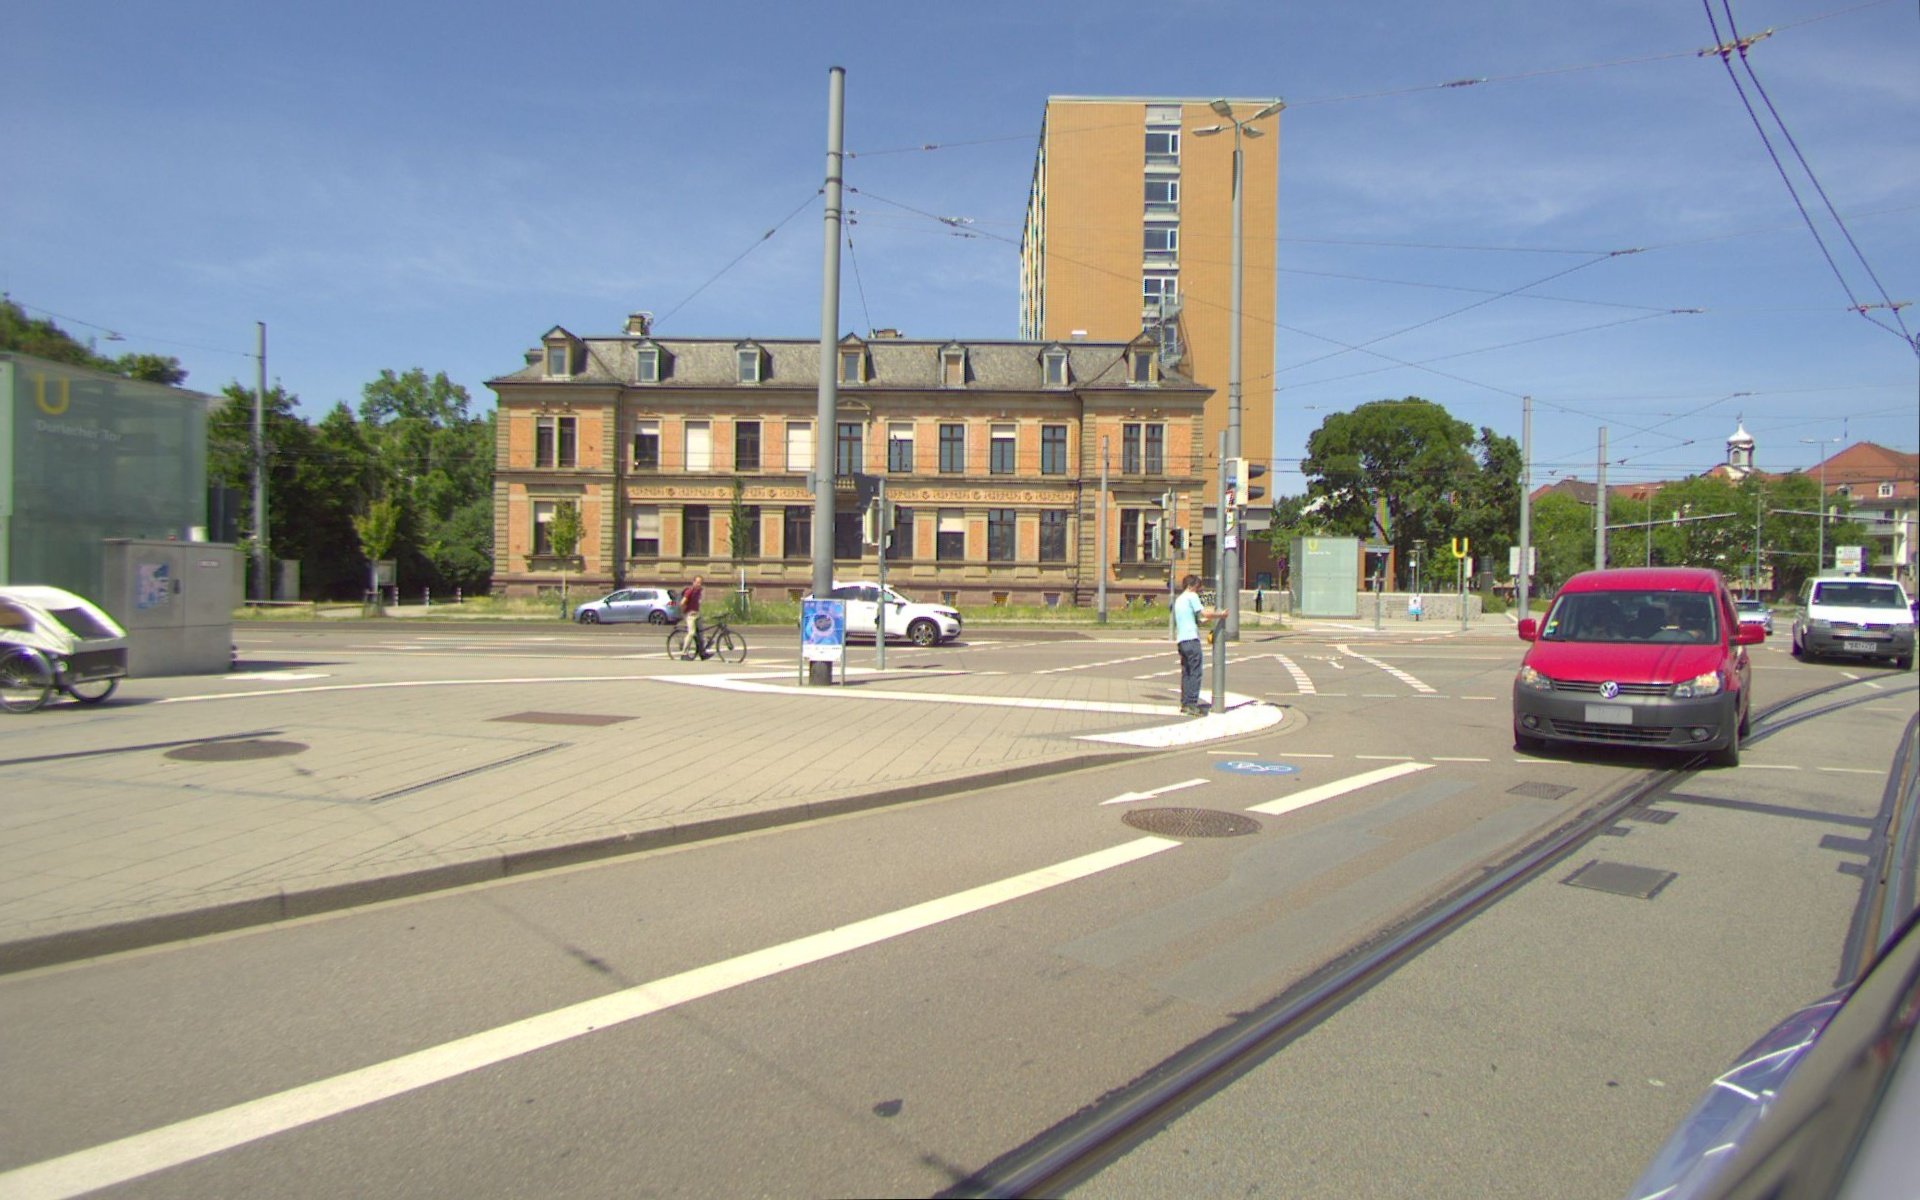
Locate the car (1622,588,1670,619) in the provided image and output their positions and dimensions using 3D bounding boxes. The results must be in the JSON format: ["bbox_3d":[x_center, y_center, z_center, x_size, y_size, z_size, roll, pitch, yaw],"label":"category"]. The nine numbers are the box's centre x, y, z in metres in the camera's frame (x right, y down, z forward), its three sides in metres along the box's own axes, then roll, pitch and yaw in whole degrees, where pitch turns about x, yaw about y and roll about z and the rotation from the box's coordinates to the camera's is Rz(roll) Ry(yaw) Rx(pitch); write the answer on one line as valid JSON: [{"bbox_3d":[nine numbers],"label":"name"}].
[{"bbox_3d":[43.905,0.177,64.865,1.980,1.864,3.964,1,1,26],"label":"car"}]

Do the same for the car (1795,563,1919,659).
[{"bbox_3d":[20.517,0.200,23.076,1.862,1.990,3.778,1,1,33],"label":"car"}]

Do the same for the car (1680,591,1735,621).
[{"bbox_3d":[44.953,0.325,60.942,1.980,1.746,3.964,1,1,26],"label":"car"}]

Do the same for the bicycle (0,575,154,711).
[{"bbox_3d":[-9.598,0.391,10.151,2.180,1.266,1.099,1,1,2],"label":"bicycle"}]

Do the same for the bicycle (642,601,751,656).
[{"bbox_3d":[-5.242,0.548,20.191,1.988,1.018,0.724,1,1,11],"label":"bicycle"}]

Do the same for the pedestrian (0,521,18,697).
[{"bbox_3d":[-10.224,0.101,10.132,0.809,1.797,0.814,0,1,2],"label":"pedestrian"}]

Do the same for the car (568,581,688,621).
[{"bbox_3d":[-12.287,0.027,37.618,3.925,1.438,1.617,1,1,2],"label":"car"}]

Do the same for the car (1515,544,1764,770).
[{"bbox_3d":[7.065,0.431,10.339,1.748,1.835,4.039,1,1,39],"label":"car"}]

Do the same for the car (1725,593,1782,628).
[{"bbox_3d":[33.179,0.407,42.396,1.561,1.371,3.418,1,1,33],"label":"car"}]

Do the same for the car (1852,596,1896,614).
[{"bbox_3d":[76.096,0.398,84.315,1.517,1.477,2.972,1,1,16],"label":"car"}]

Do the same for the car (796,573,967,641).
[{"bbox_3d":[-1.955,0.147,25.778,4.105,1.625,1.705,1,1,8],"label":"car"}]

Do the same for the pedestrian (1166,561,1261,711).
[{"bbox_3d":[3.150,0.425,12.631,0.856,1.802,0.811,0,0,-12],"label":"pedestrian"}]
